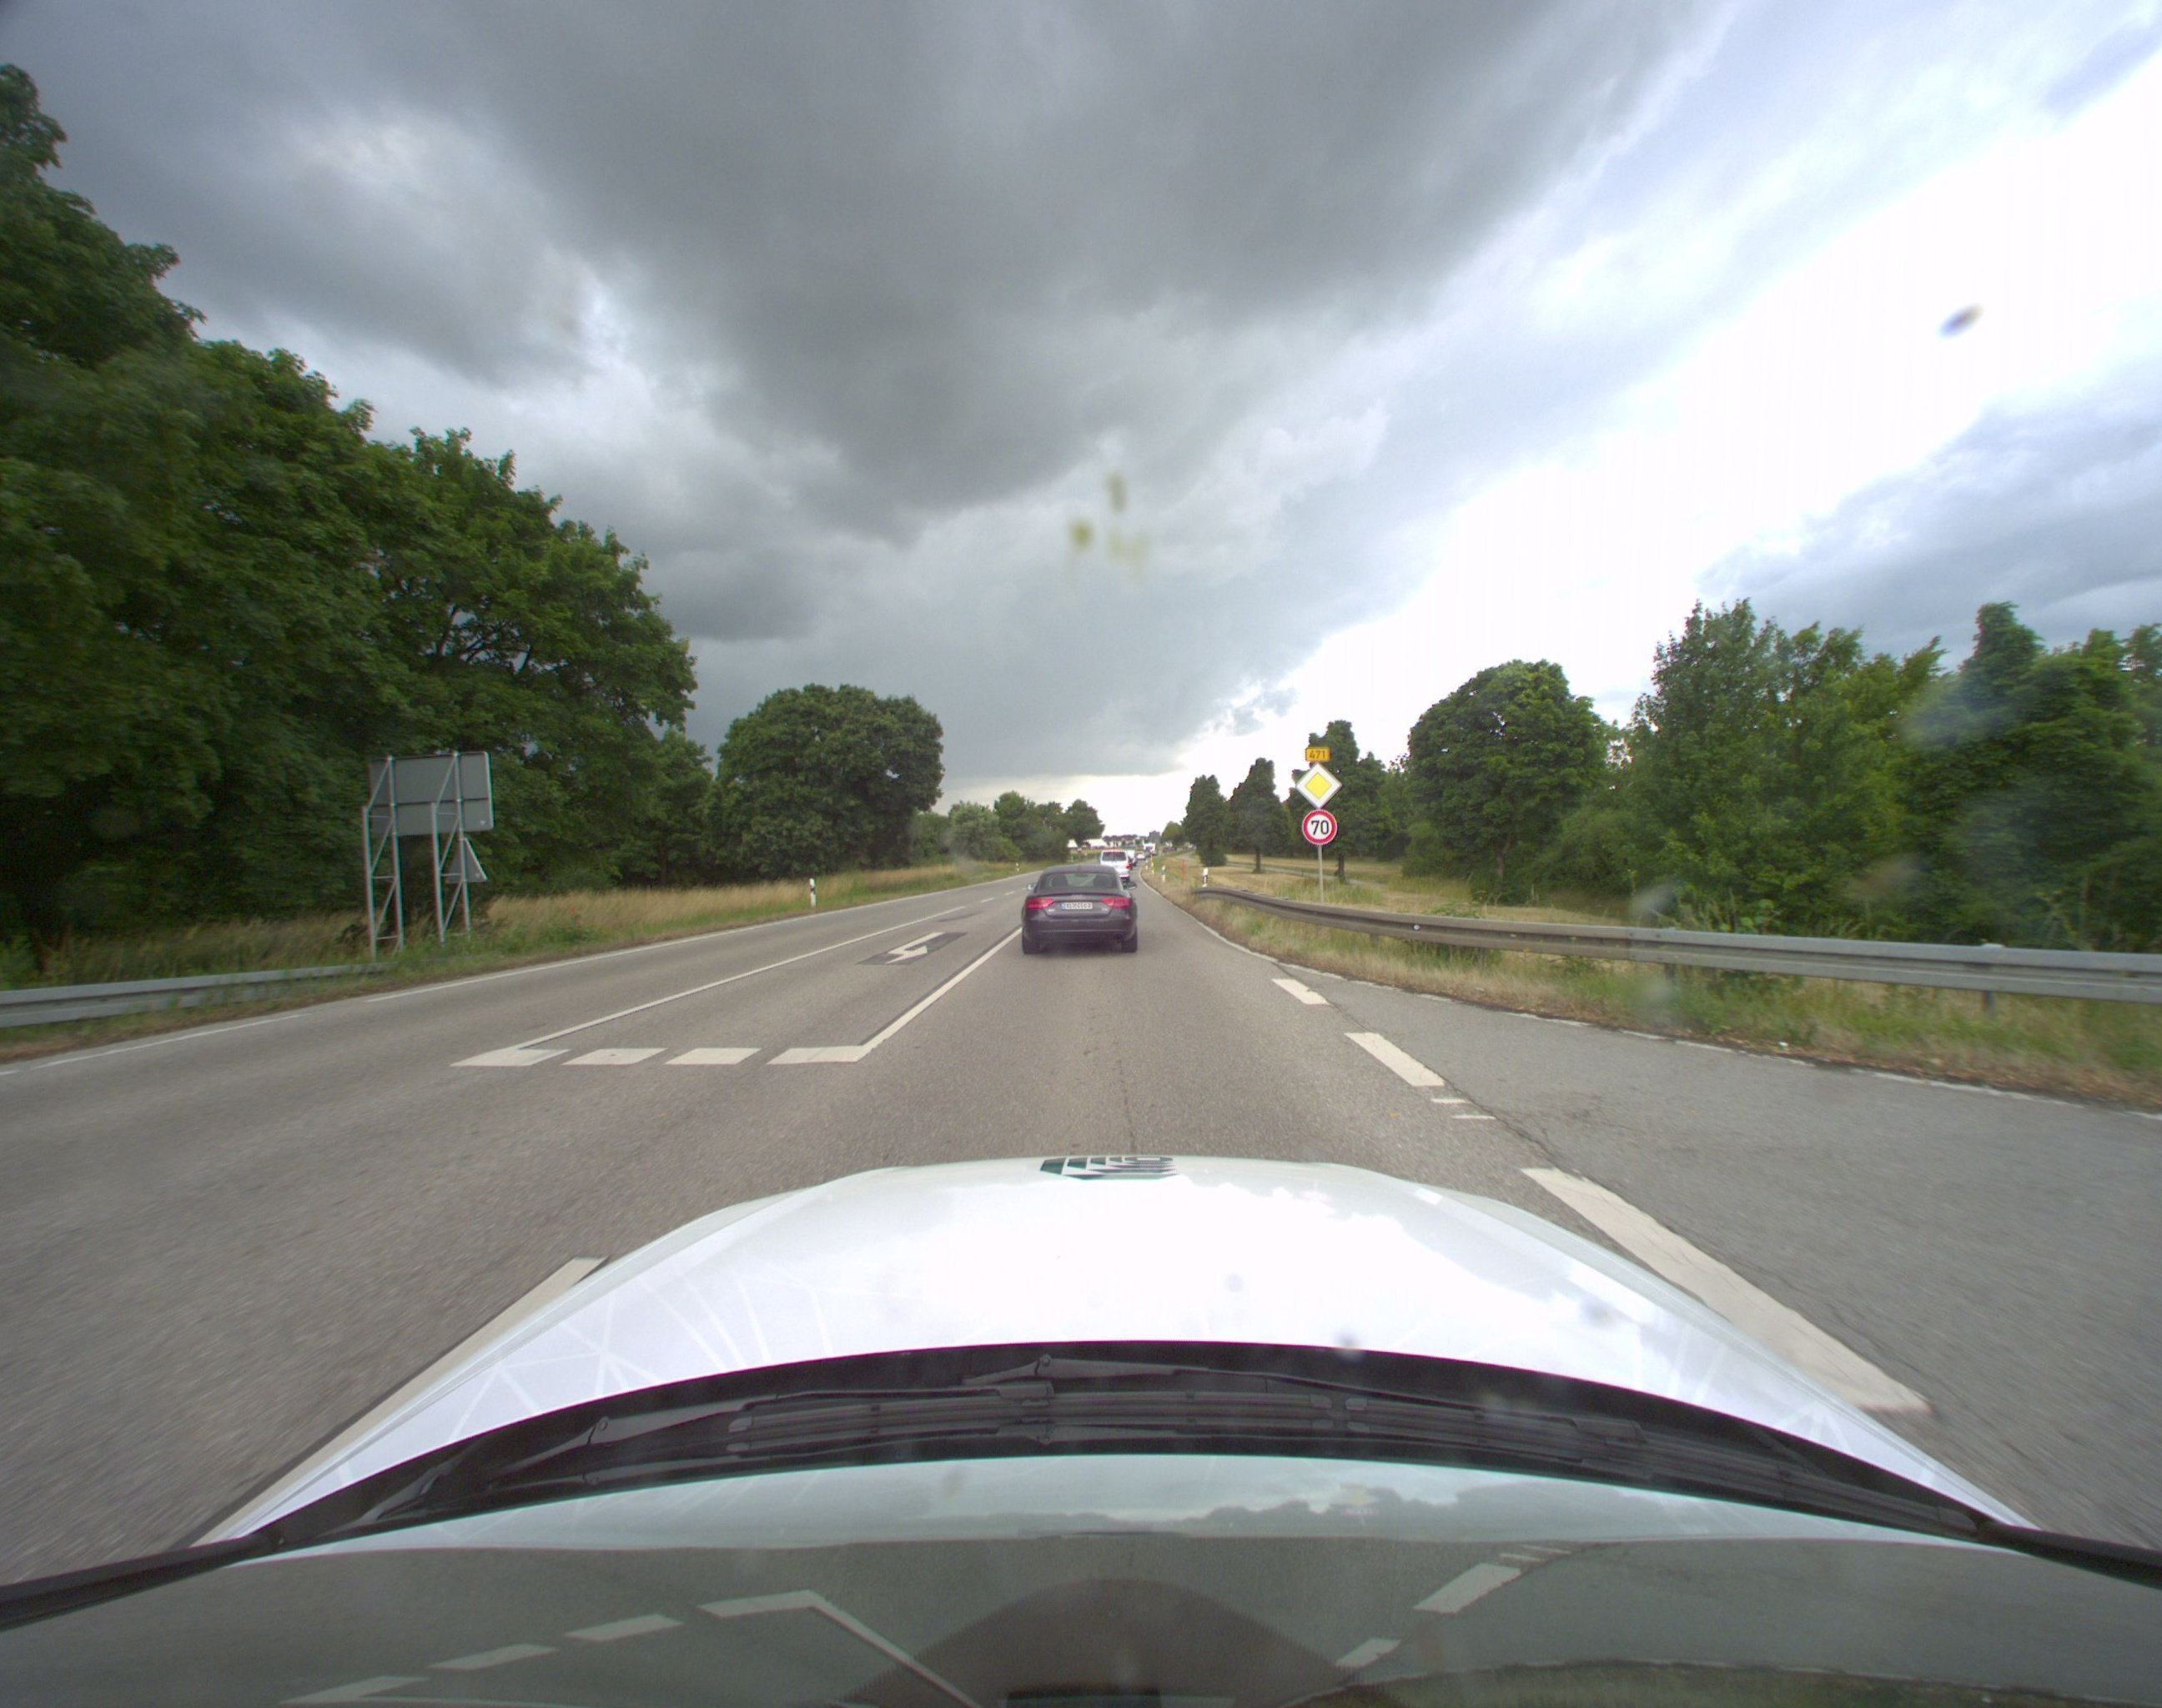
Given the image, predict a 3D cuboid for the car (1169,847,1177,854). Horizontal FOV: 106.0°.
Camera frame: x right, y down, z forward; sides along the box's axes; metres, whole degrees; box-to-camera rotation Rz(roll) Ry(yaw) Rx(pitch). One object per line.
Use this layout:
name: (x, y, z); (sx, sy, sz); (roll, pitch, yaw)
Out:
car: (26.812, -1.076, 237.901); (1.986, 2.013, 4.001); (-1, 0, 1)

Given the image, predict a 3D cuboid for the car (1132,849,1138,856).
car: (14.589, -0.497, 220.189); (1.589, 1.802, 3.202); (-1, 0, 2)

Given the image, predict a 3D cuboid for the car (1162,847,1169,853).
car: (22.202, -1.120, 214.264); (1.712, 1.451, 4.003); (-1, 0, 3)

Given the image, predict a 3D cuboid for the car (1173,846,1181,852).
car: (25.743, -1.406, 219.292); (1.814, 1.596, 4.003); (-1, 0, 3)

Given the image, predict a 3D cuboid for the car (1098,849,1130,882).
car: (1.961, 0.639, 49.134); (1.832, 1.882, 4.001); (-1, 0, 1)

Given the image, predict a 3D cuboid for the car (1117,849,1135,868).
car: (5.434, 0.535, 96.968); (1.984, 2.088, 4.005); (-2, 0, 4)

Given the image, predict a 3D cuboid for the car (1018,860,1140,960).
car: (0.025, 0.836, 13.947); (1.776, 1.376, 4.001); (-1, 0, 1)

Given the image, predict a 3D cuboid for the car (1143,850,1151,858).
car: (12.152, -0.034, 150.947); (1.251, 1.353, 3.473); (-2, 0, 8)

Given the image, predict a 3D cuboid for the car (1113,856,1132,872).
car: (4.199, 0.981, 81.859); (1.787, 1.464, 3.253); (-1, 0, 5)

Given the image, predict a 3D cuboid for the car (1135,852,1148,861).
car: (9.961, 0.375, 133.994); (1.726, 1.514, 3.754); (-2, 0, 8)

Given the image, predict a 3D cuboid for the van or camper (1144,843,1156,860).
van or camper: (14.453, -0.493, 170.169); (2.329, 3.481, 5.726); (-1, 0, 5)
